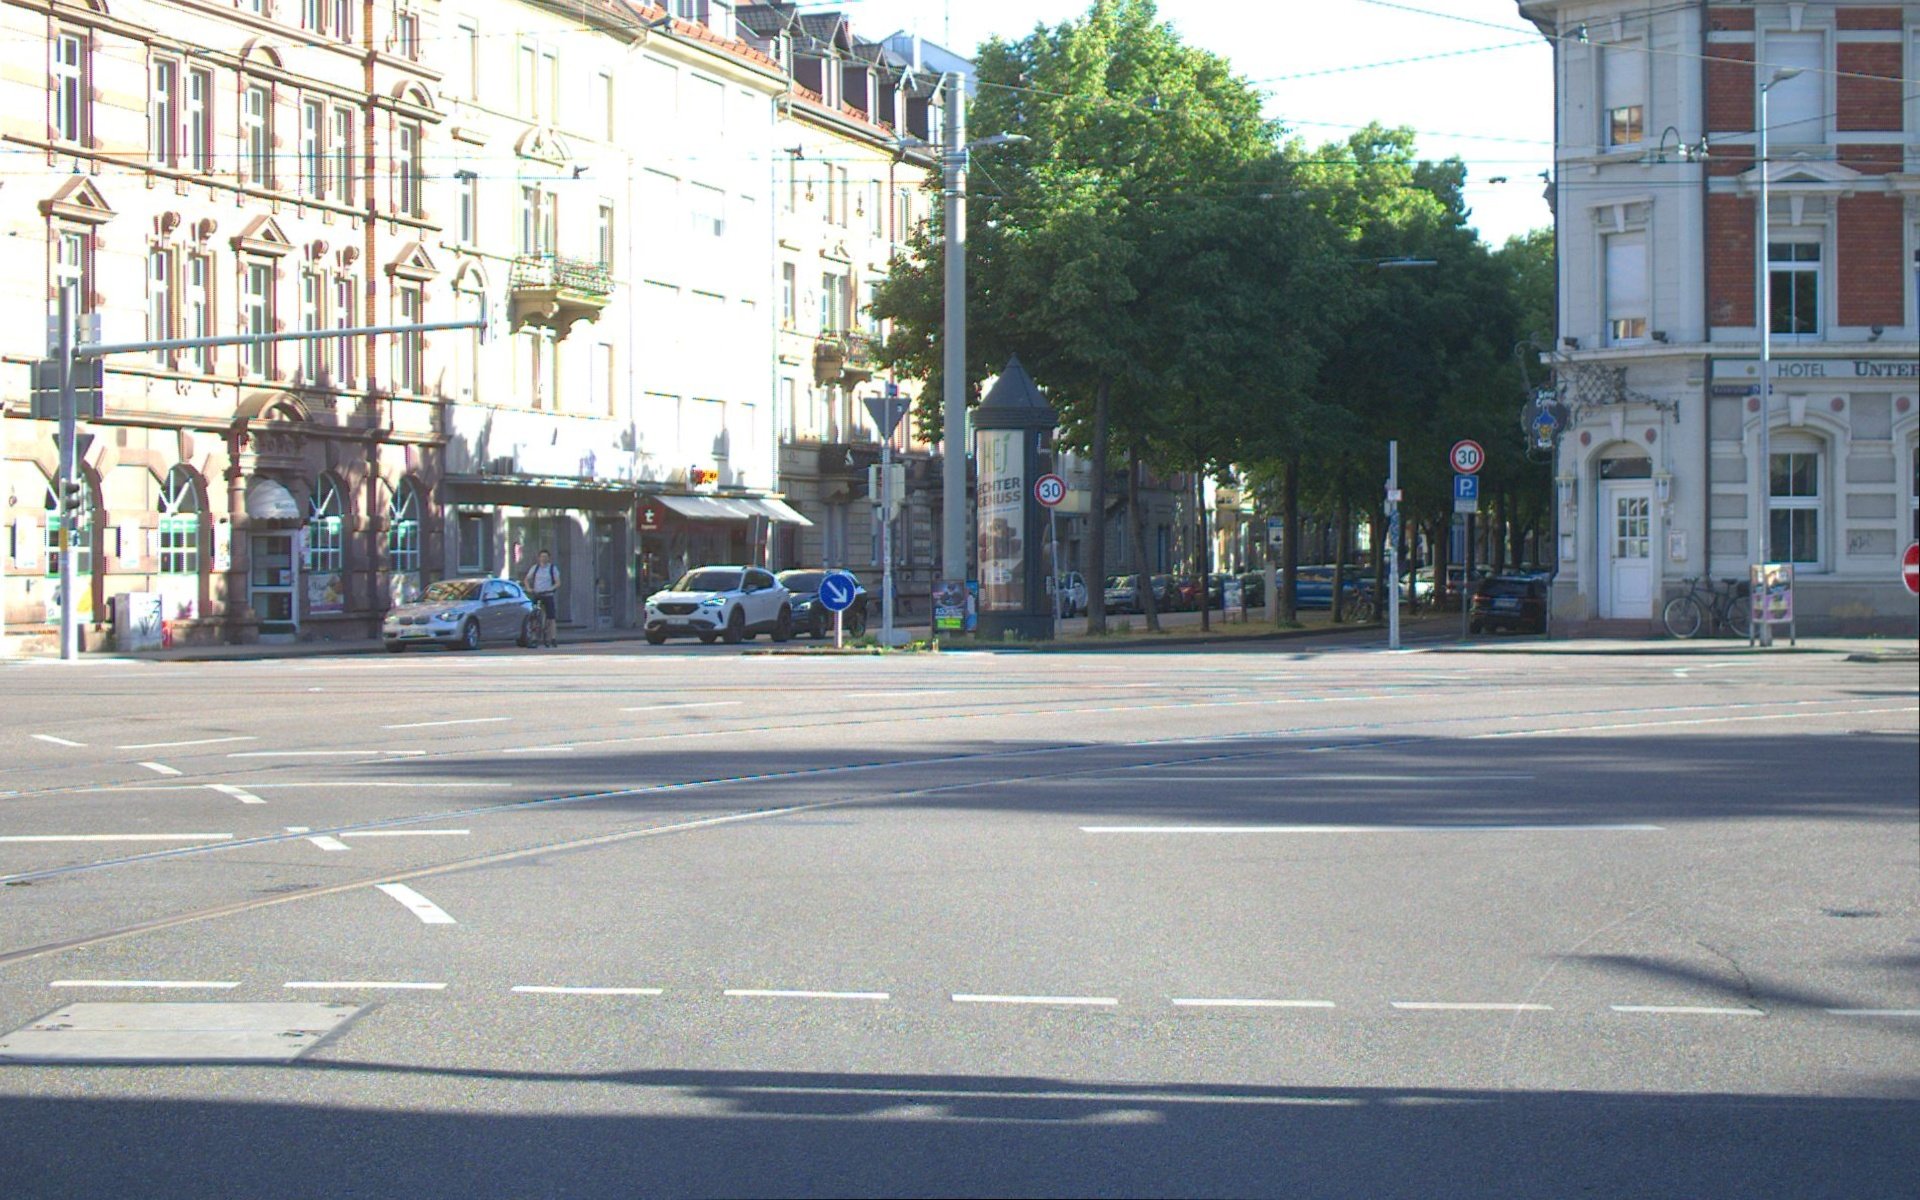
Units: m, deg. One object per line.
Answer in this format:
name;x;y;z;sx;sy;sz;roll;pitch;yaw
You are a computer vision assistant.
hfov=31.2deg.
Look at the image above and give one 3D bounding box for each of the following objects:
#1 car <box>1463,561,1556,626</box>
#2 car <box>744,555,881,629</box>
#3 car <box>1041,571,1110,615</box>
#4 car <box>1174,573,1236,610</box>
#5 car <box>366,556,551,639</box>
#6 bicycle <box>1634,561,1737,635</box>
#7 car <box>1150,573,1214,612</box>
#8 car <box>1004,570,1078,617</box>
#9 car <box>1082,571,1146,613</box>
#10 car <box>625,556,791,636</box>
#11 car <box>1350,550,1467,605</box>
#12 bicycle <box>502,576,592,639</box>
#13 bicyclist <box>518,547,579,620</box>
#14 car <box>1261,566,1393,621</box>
car;13.171;-0.156;82.288;1.652;1.519;3.750;0;0;17
car;-3.125;-0.190;73.535;1.994;1.508;3.998;0;1;12
car;3.924;-0.254;115.808;1.741;1.393;4.122;3;1;9
car;9.729;-0.346;136.388;1.742;1.393;4.121;3;1;13
car;-9.773;-0.071;67.382;2.098;1.540;4.361;0;1;14
bicycle;12.066;-0.035;57.136;1.639;1.218;0.606;0;1;16
car;8.511;-0.311;131.610;1.742;1.393;4.121;3;1;13
car;2.600;-0.215;110.003;1.741;1.393;4.122;3;1;9
car;5.510;-0.301;122.785;1.741;1.393;4.122;3;1;9
car;-4.874;-0.103;67.168;2.098;1.494;3.998;0;1;14
car;17.411;-0.875;133.427;4.115;1.912;1.744;3;1;21
bicycle;-7.863;0.127;65.631;0.751;1.131;2.808;0;1;14
bicyclist;-7.849;-0.314;65.593;0.794;1.370;1.107;0;1;14
car;12.294;-0.224;115.228;4.113;1.640;1.745;3;1;15
